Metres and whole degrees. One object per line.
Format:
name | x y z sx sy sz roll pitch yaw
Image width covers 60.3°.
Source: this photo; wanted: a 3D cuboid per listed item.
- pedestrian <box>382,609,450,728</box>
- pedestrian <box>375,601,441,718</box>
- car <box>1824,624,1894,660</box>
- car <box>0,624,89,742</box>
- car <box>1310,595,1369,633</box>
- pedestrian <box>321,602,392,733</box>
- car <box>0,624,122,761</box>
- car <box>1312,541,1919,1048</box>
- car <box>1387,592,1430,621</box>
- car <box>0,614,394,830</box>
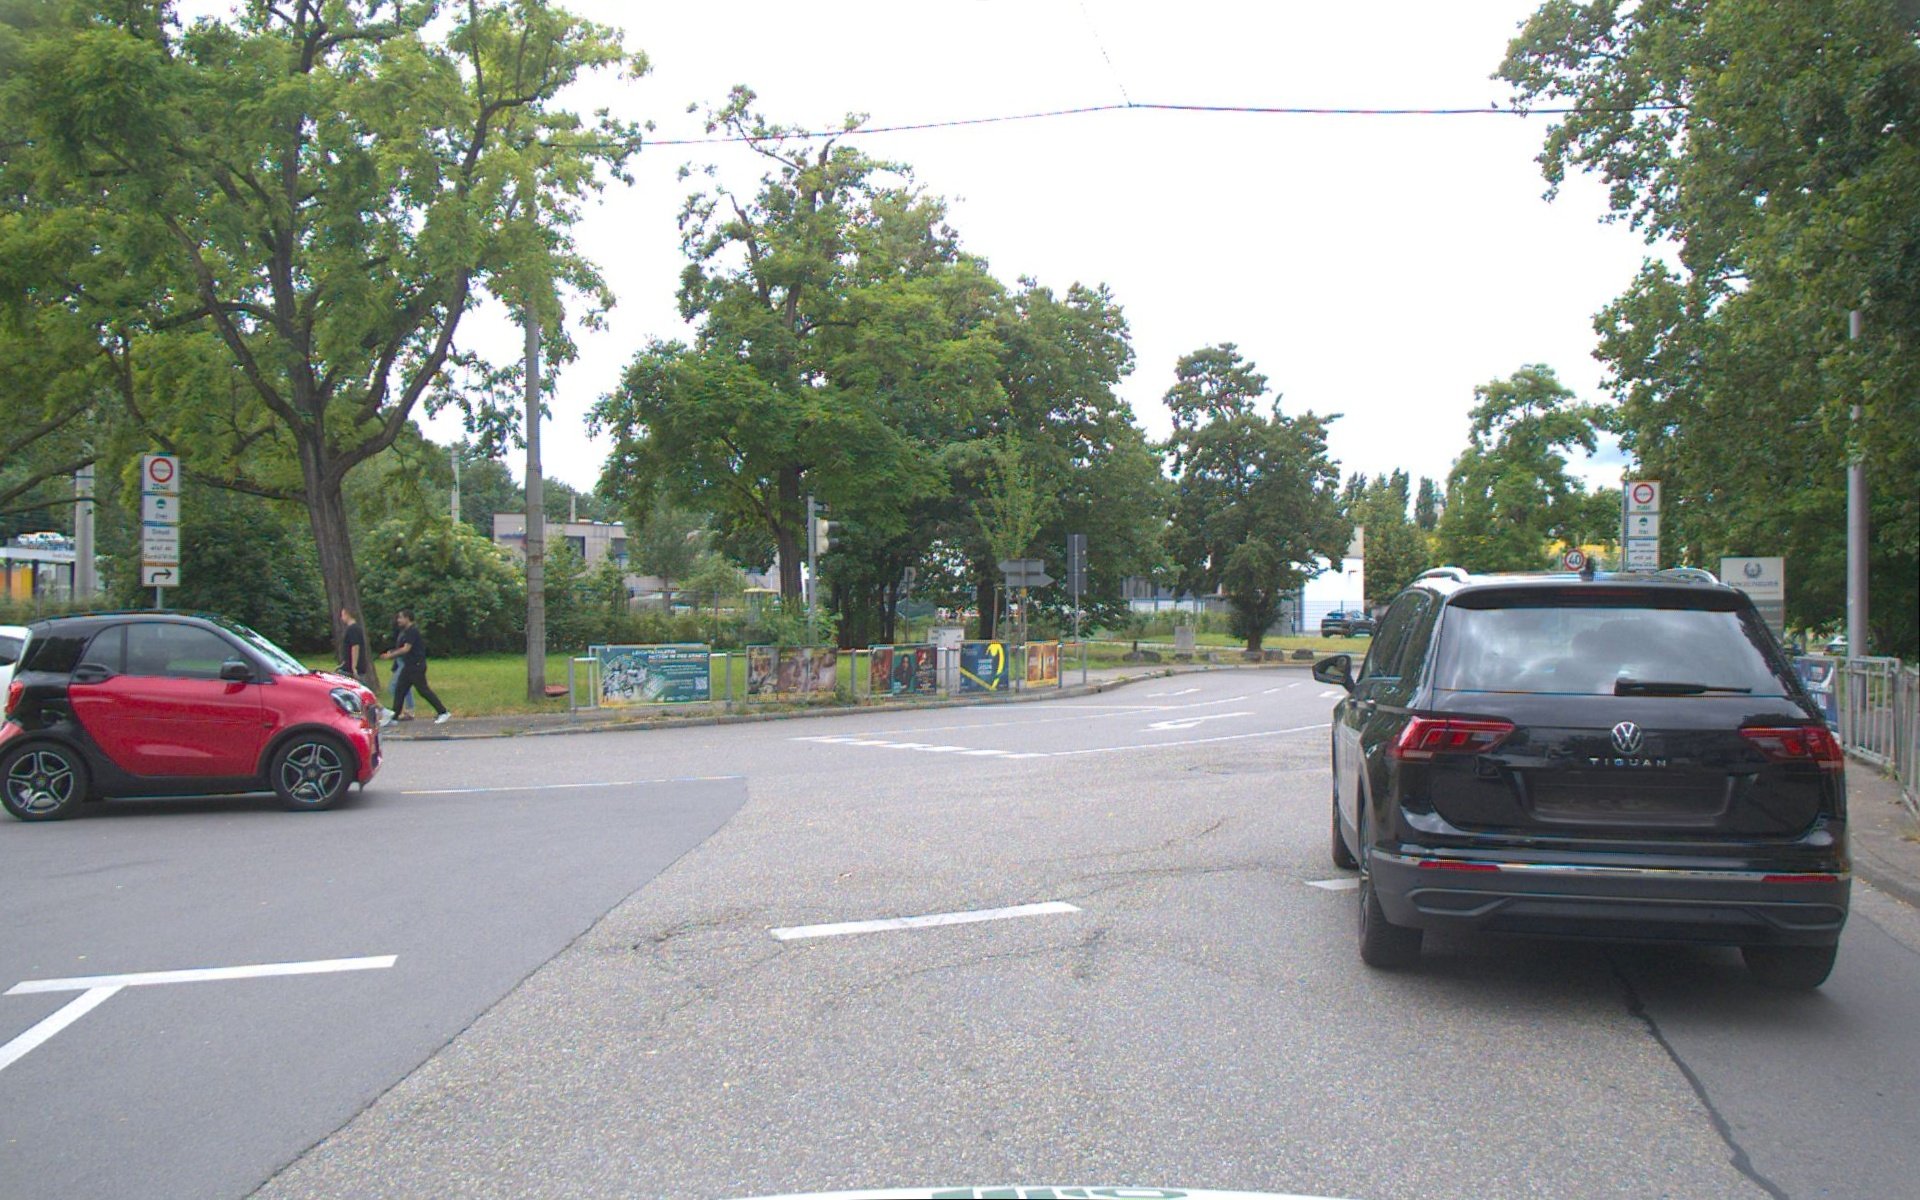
pedestrian | -8.149 1.011 24.804 0.770 1.744 0.695 0 0 0
pedestrian | -8.508 0.909 25.499 0.770 1.770 0.695 0 0 0
car | 39.386 1.816 72.418 3.342 1.516 1.691 1 0 -42
car | -13.620 1.073 21.894 3.346 1.482 1.645 0 -1 7
car | 21.236 0.768 92.413 1.928 2.049 4.208 1 0 32
pedestrian | -8.869 0.973 24.323 0.770 1.890 0.695 0 0 0
car | -11.476 1.030 18.574 3.361 1.457 1.639 -1 0 -13
car | 2.688 0.627 7.678 1.804 1.664 4.189 1 0 9
car | 32.955 0.454 121.386 1.928 2.049 4.208 1 0 32
car | -6.064 0.885 12.952 2.961 1.490 1.710 -1 0 -16
